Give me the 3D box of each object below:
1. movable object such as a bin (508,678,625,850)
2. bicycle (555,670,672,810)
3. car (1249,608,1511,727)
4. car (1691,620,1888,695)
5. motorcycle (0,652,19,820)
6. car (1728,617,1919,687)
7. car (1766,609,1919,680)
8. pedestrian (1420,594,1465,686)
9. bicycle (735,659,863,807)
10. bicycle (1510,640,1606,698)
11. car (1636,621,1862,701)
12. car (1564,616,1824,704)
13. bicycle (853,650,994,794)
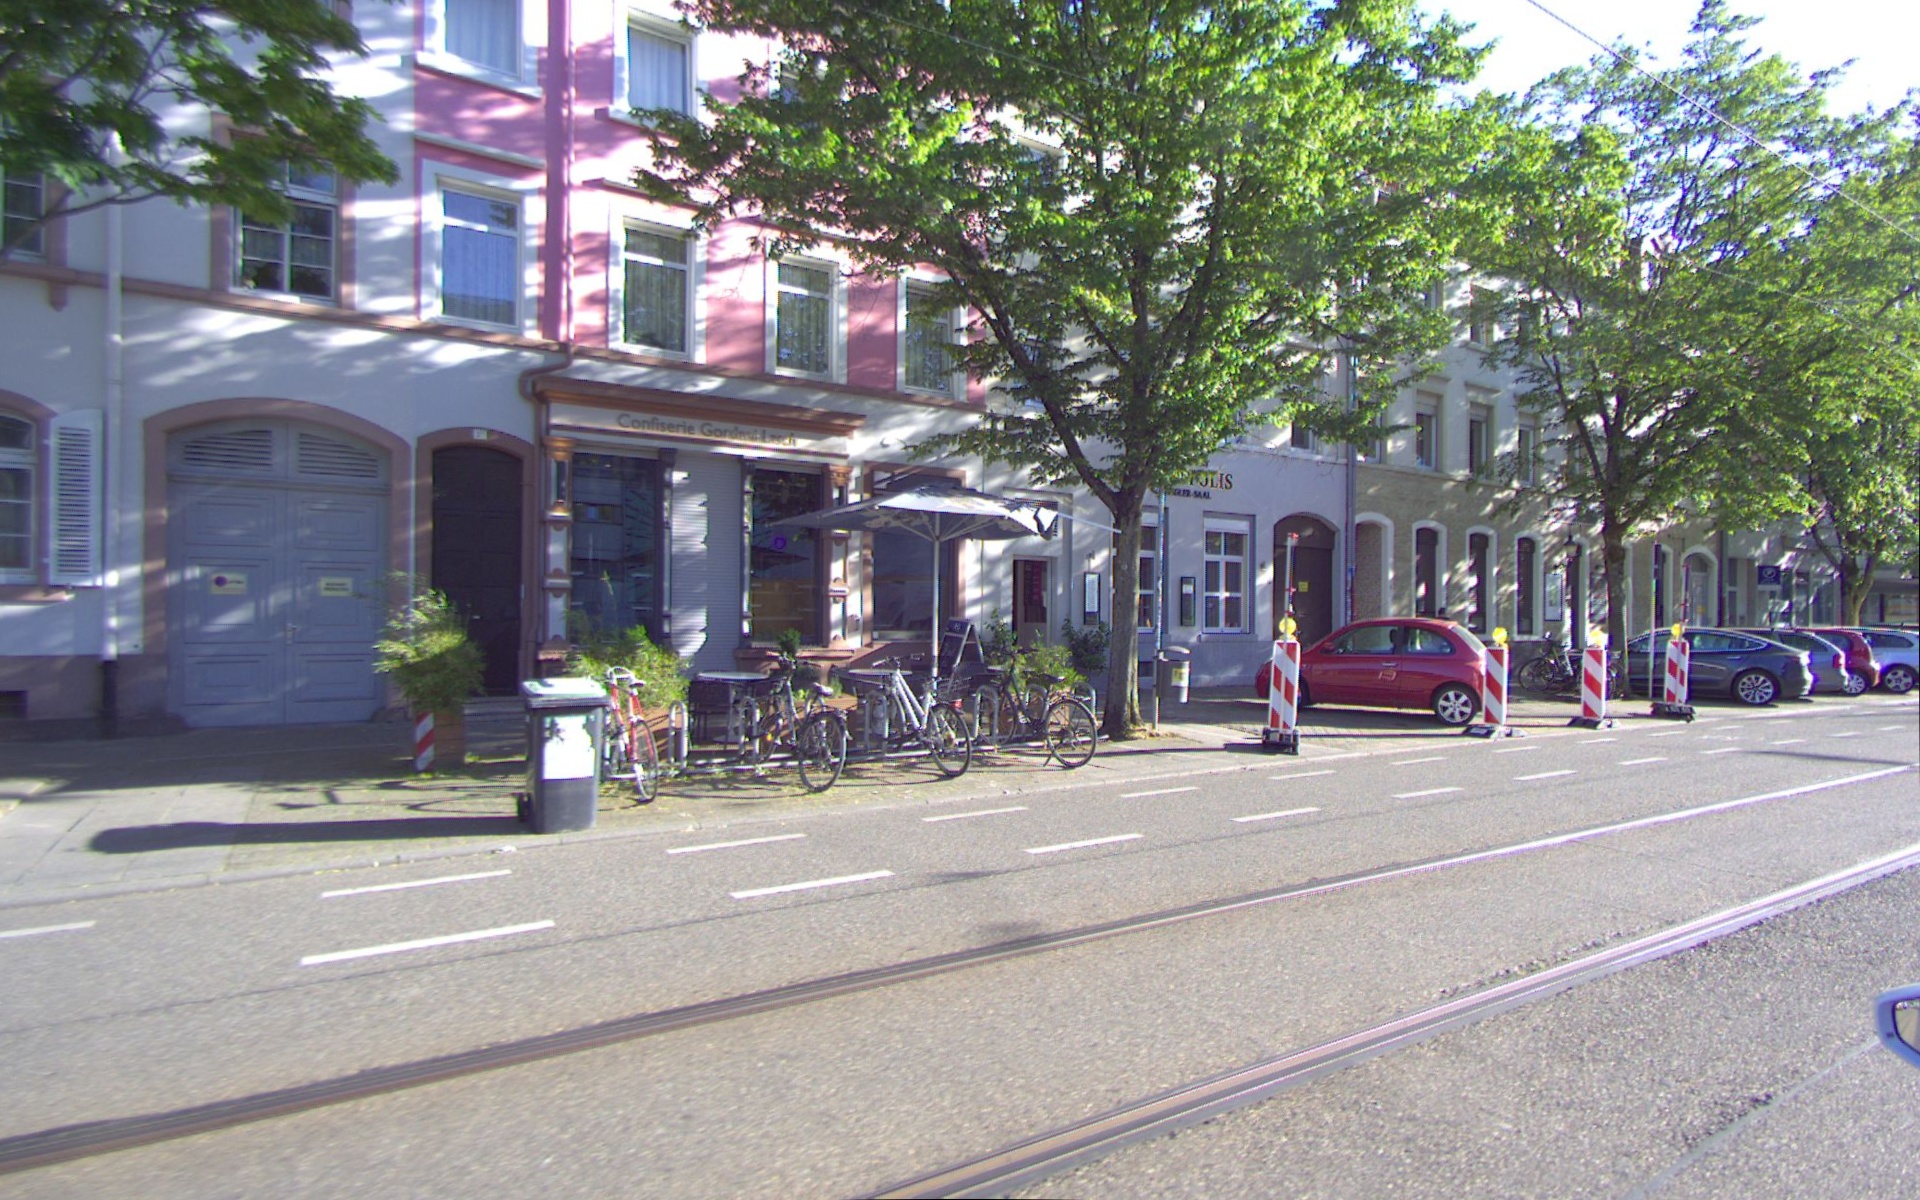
[{"bbox_3d":[-2.892,1.163,7.359,0.701,1.092,0.680,0,2,-30],"label":"movable object such as a bin"},{"bbox_3d":[-3.050,1.168,8.755,0.386,1.001,1.585,0,1,-41],"label":"bicycle"},{"bbox_3d":[6.563,0.965,15.795,3.563,1.574,1.664,1,2,33],"label":"car"},{"bbox_3d":[19.361,1.304,23.627,3.314,1.513,1.609,2,1,31],"label":"car"},{"bbox_3d":[-8.575,1.039,7.428,2.548,1.270,0.726,-1,-2,1],"label":"motorcycle"},{"bbox_3d":[21.845,1.253,25.060,4.046,1.533,1.836,1,1,32],"label":"car"},{"bbox_3d":[24.611,1.175,27.105,1.822,1.700,4.079,1,1,-33],"label":"car"},{"bbox_3d":[10.876,0.891,22.653,0.550,2.040,0.728,1,-1,-30],"label":"pedestrian"},{"bbox_3d":[-1.571,1.189,9.518,0.561,1.094,1.959,1,1,-29],"label":"bicycle"},{"bbox_3d":[11.630,1.339,19.576,1.562,1.110,0.334,-1,-2,14],"label":"bicycle"},{"bbox_3d":[17.067,1.274,21.972,3.618,1.490,1.750,2,0,30],"label":"car"},{"bbox_3d":[14.855,1.149,20.668,4.129,1.511,1.939,1,0,32],"label":"car"},{"bbox_3d":[-0.419,1.164,10.149,0.560,1.102,1.993,1,3,-29],"label":"bicycle"}]
